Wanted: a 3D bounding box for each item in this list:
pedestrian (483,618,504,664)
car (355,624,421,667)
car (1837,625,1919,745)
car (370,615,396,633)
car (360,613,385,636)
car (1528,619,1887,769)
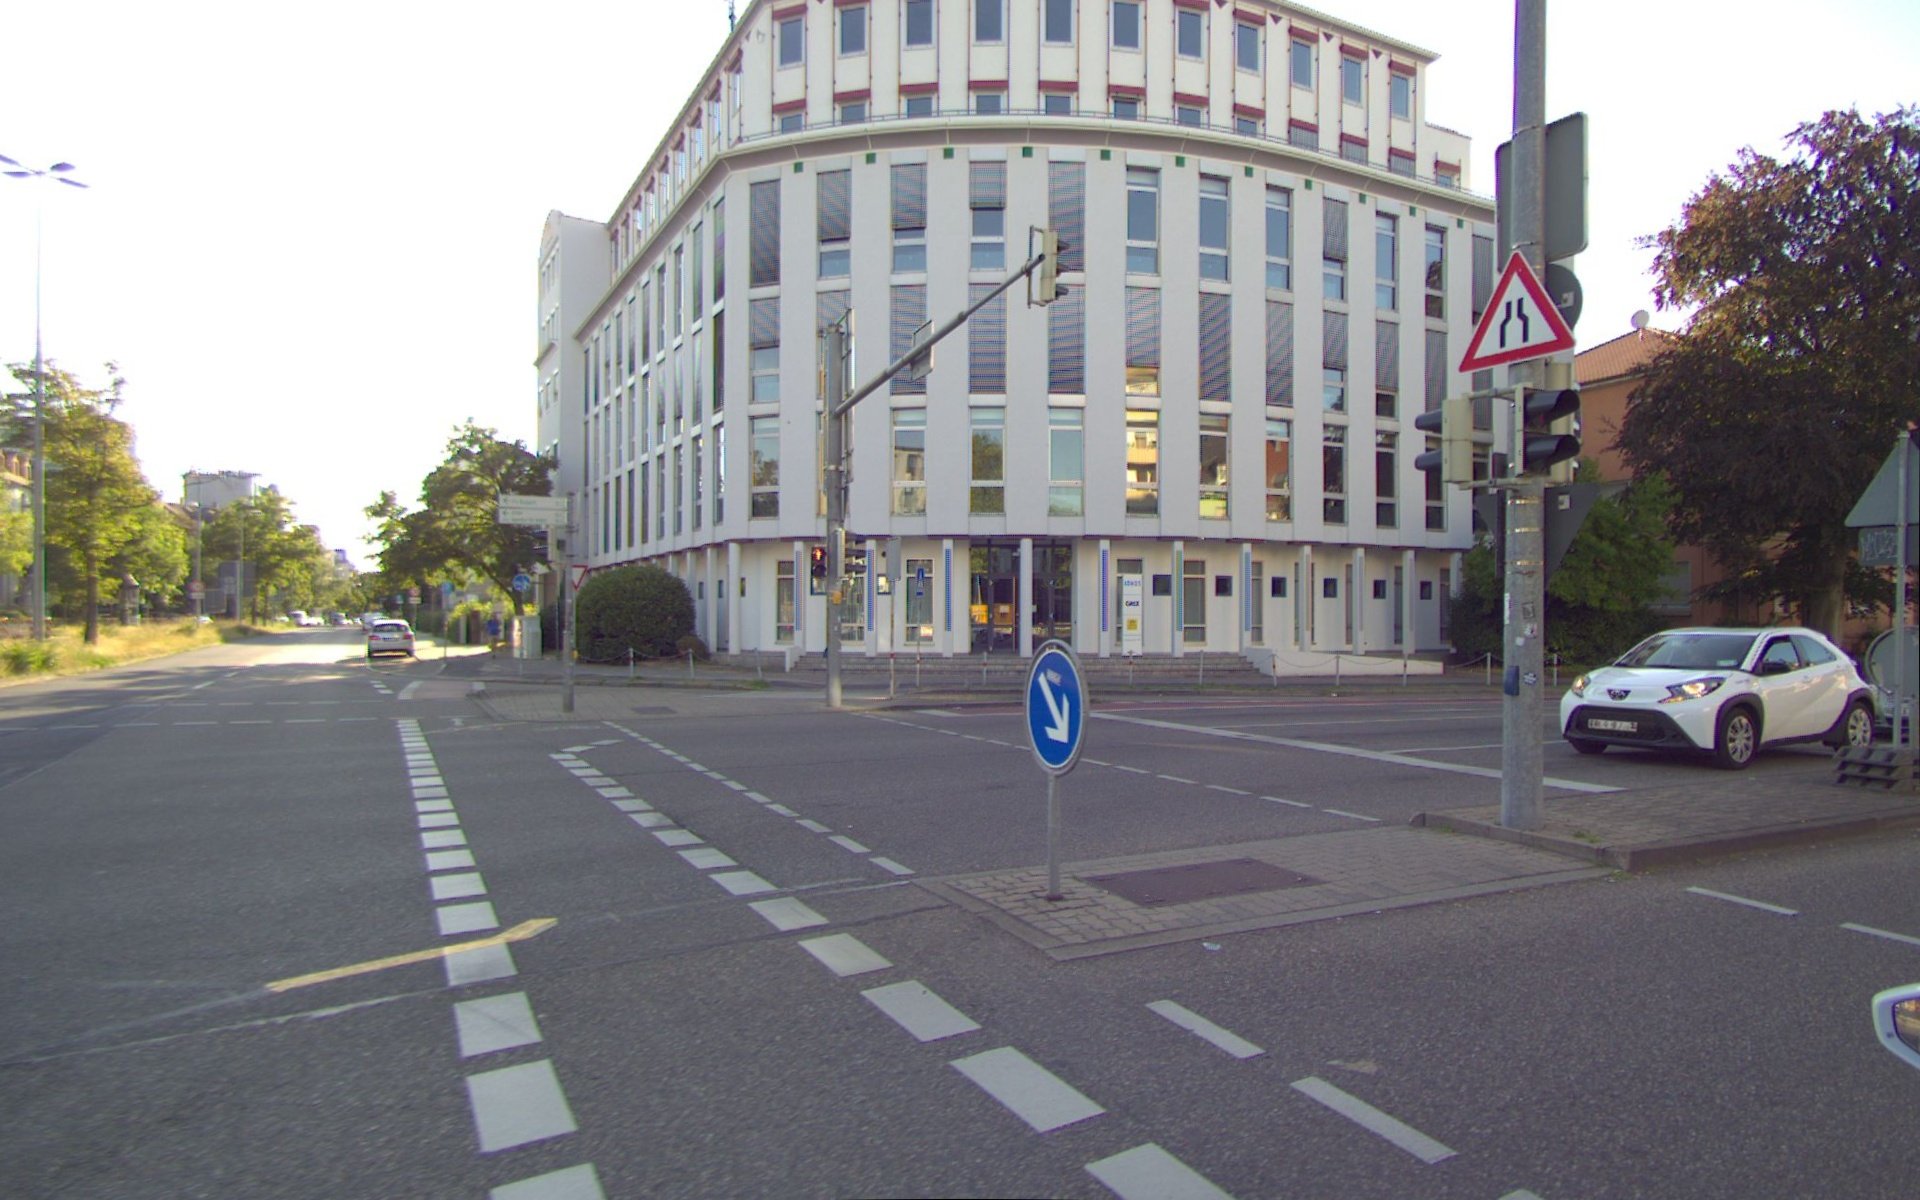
[{"bbox_3d":[-18.371,1.602,39.570,0.691,1.814,0.477,0,0,-36],"label":"pedestrian"},{"bbox_3d":[-25.108,1.931,44.025,1.982,1.751,3.957,0,-1,-38],"label":"car"},{"bbox_3d":[14.537,1.127,14.033,4.542,1.534,1.822,0,-1,-26],"label":"car"},{"bbox_3d":[-50.346,2.108,87.623,1.977,1.506,3.968,0,-1,-30],"label":"car"},{"bbox_3d":[-55.041,2.284,94.152,1.977,2.040,3.968,0,-1,-30],"label":"car"},{"bbox_3d":[8.799,0.979,11.817,3.849,1.480,1.822,0,-1,-26],"label":"car"}]
